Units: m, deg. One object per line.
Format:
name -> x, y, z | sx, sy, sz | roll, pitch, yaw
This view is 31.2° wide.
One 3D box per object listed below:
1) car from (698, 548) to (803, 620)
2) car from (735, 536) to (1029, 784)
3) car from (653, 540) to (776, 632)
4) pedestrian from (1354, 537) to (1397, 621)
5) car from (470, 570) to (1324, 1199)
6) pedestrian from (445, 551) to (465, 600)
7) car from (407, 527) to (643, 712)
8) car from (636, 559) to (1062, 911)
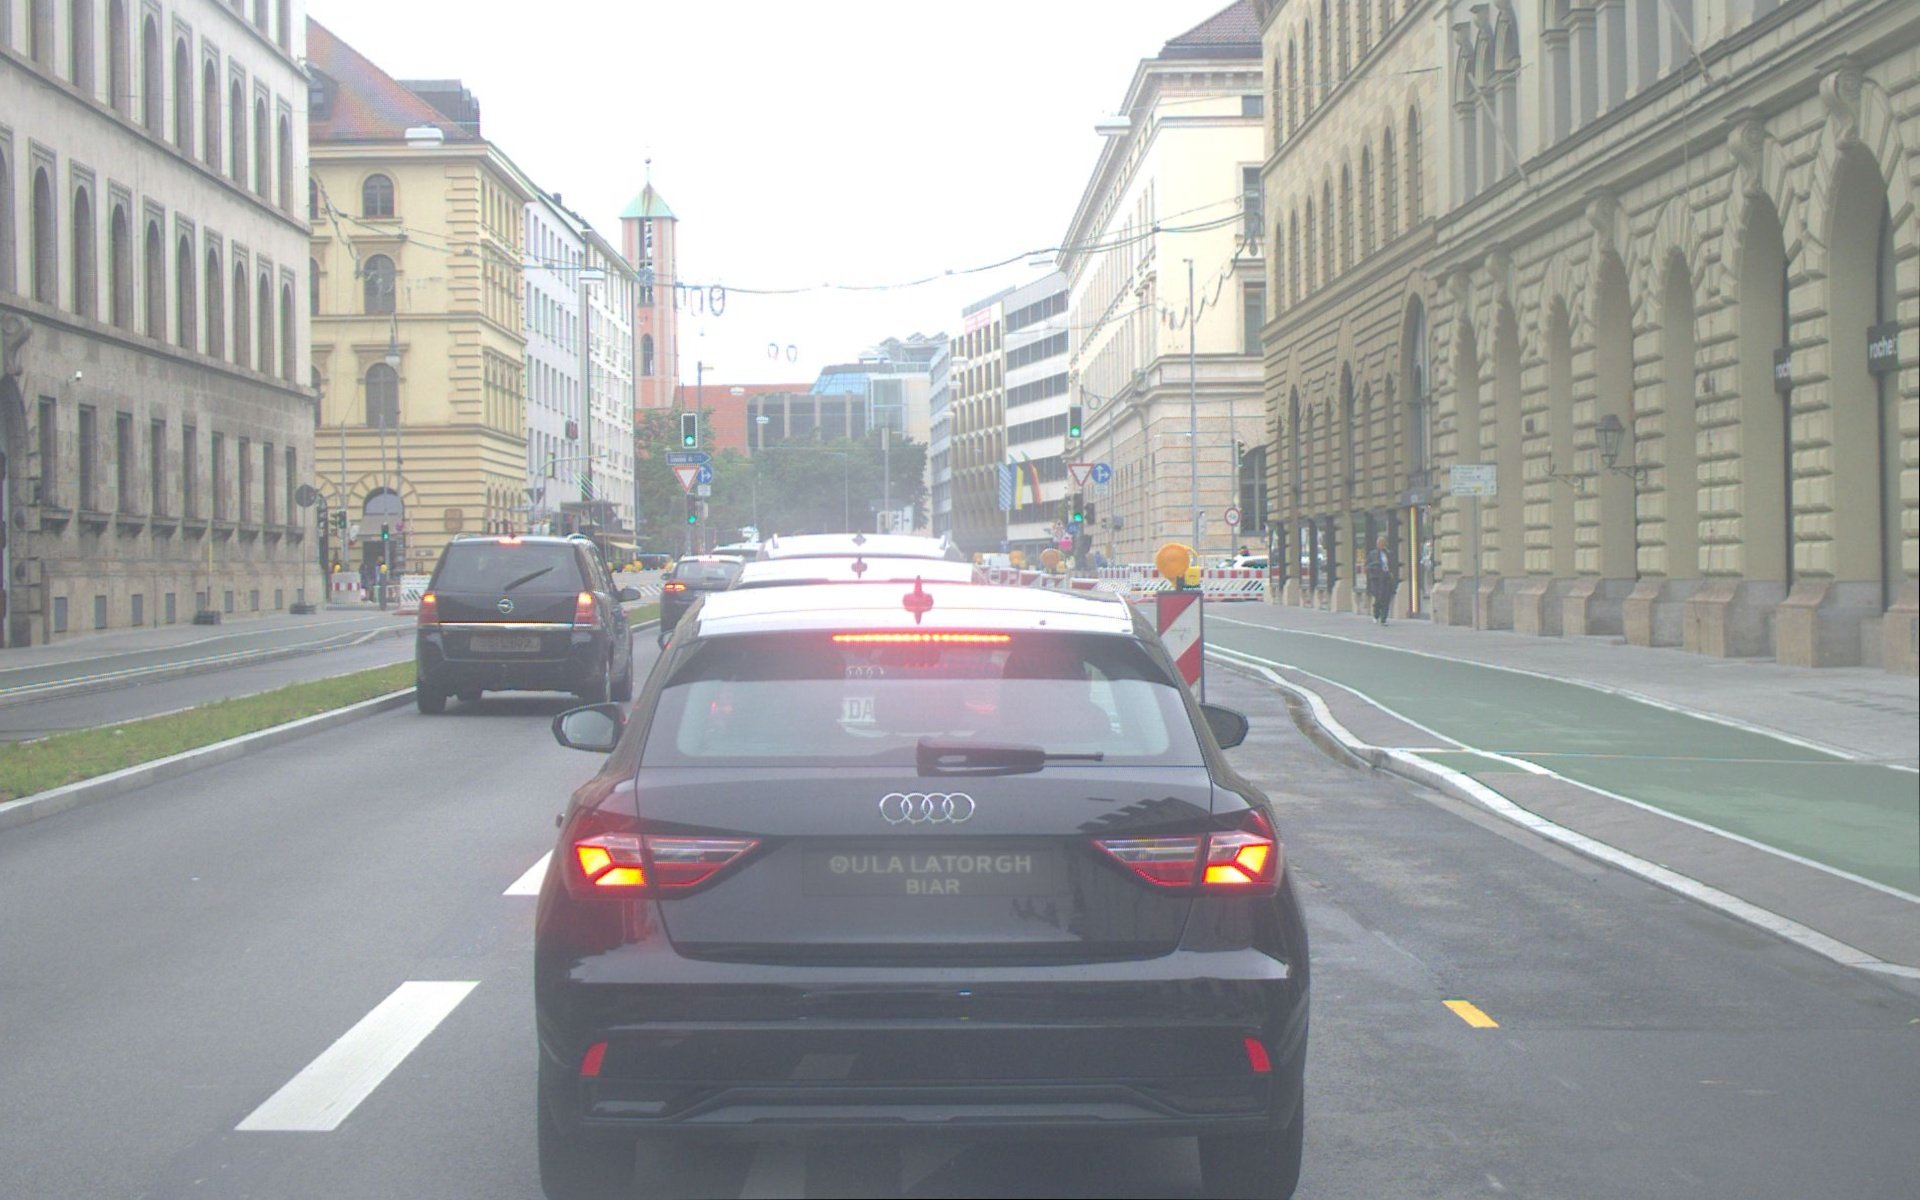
car -> -4.373, -0.356, 72.298 | 1.993, 1.439, 4.000 | -1, 1, -1
car -> -0.501, 0.321, 22.502 | 1.730, 1.456, 4.000 | 1, 1, -1
car -> -4.467, -0.279, 63.046 | 1.993, 1.622, 4.000 | -1, 1, -1
pedestrian -> 7.988, -0.405, 66.161 | 0.710, 1.612, 0.754 | -1, 1, -1
car -> -0.165, 0.652, 9.025 | 1.730, 1.398, 4.000 | 1, 1, -1
pedestrian -> -18.612, -0.914, 126.694 | 0.656, 1.799, 0.727 | -1, 1, -1
car -> -4.008, 0.132, 32.231 | 1.764, 1.610, 4.030 | 1, 1, -1
car -> -0.492, 0.533, 16.110 | 1.730, 1.398, 4.000 | 1, 1, -1
